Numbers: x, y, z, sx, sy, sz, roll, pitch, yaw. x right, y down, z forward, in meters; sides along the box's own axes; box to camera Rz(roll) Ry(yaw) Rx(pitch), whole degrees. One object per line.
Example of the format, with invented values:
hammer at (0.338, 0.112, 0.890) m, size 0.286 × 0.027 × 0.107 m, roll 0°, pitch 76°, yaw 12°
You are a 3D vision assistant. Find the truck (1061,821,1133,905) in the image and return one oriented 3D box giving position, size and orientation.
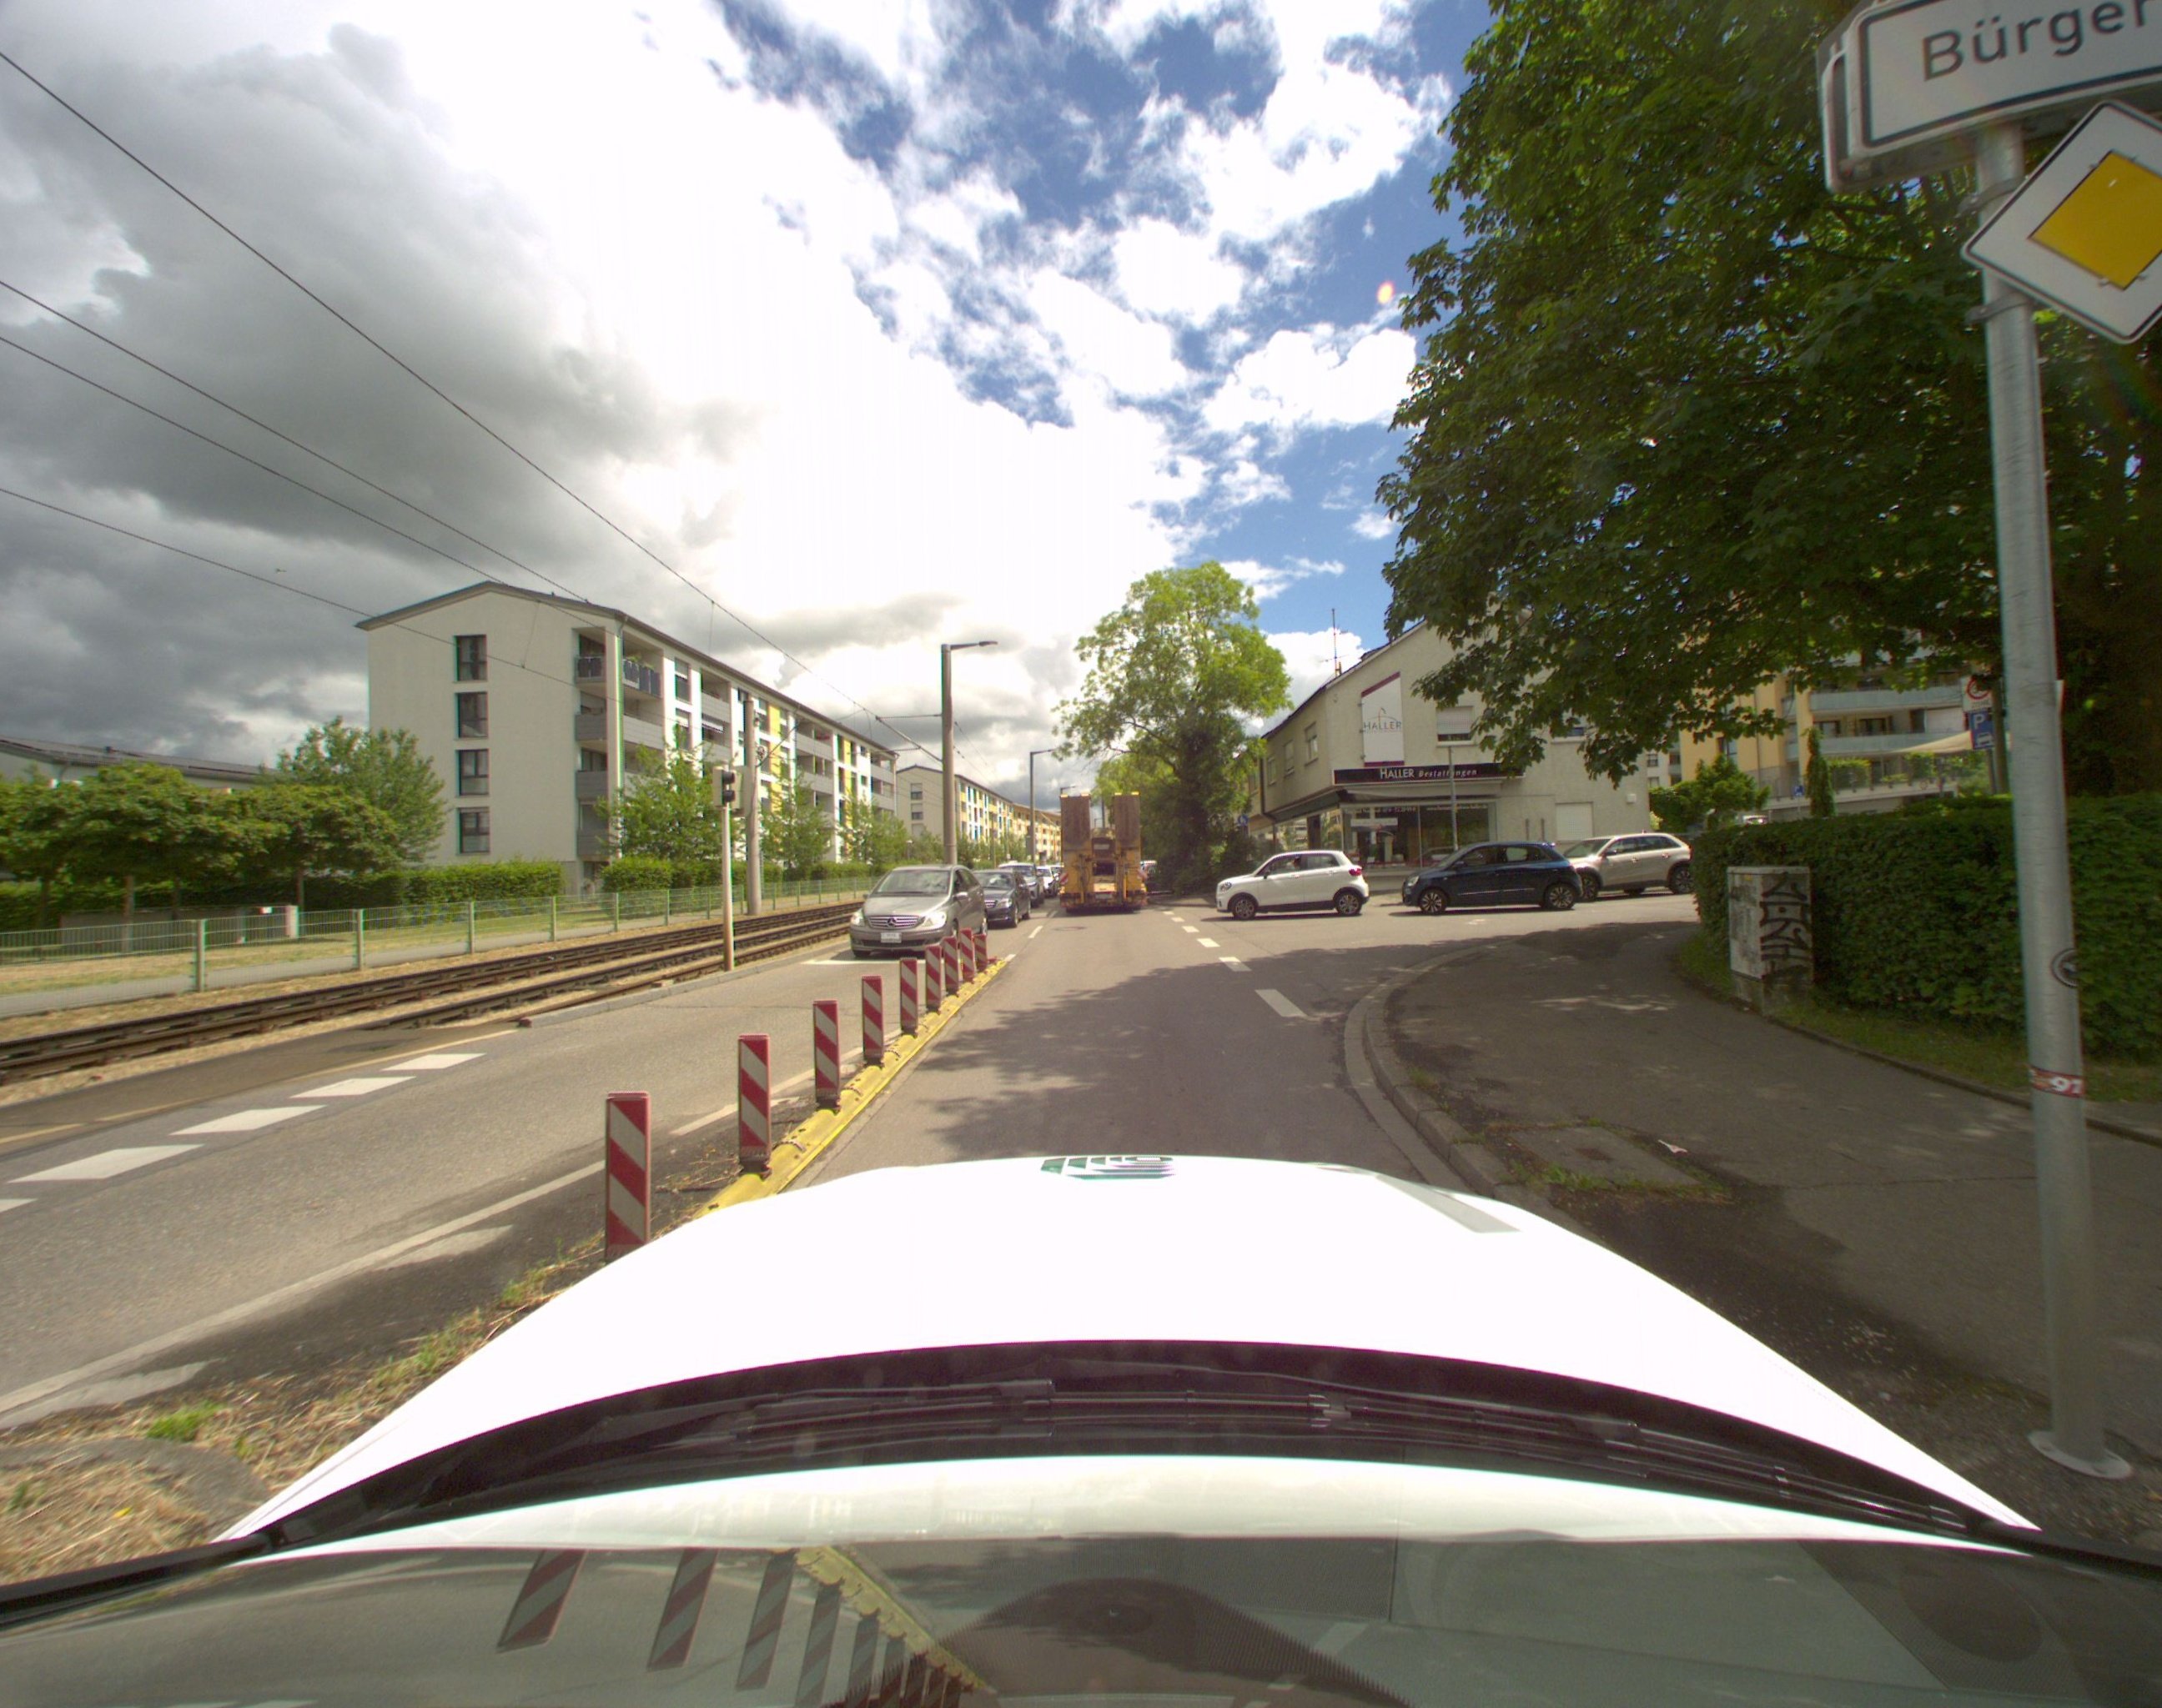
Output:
truck at (0.618, 0.360, 38.090) m, size 2.826 × 3.330 × 7.980 m, roll -3°, pitch 0°, yaw -1°

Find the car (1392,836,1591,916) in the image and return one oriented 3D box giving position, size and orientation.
car at (9.033, 0.470, 18.274) m, size 3.667 × 1.522 × 2.010 m, roll -3°, pitch 0°, yaw 18°

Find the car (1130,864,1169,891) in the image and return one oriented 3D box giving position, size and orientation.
car at (4.145, 1.376, 49.757) m, size 1.987 × 1.387 × 4.001 m, roll -3°, pitch 0°, yaw 1°

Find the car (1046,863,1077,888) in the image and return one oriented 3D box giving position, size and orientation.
car at (-1.382, 1.550, 59.293) m, size 1.987 × 1.585 × 4.001 m, roll -3°, pitch 0°, yaw 1°

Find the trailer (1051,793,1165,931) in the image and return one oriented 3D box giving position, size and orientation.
trailer at (0.672, 0.184, 29.115) m, size 3.042 × 3.772 × 11.606 m, roll -3°, pitch 0°, yaw -1°

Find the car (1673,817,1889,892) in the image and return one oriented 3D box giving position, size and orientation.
car at (17.058, 0.001, 19.964) m, size 3.871 × 1.547 × 1.708 m, roll -3°, pitch 0°, yaw -3°

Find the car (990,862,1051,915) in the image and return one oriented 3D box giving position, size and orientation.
car at (-2.146, 1.220, 29.958) m, size 1.595 × 1.732 × 3.942 m, roll -3°, pitch -1°, yaw 4°

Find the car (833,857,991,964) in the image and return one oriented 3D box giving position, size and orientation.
car at (-3.005, 0.966, 15.423) m, size 1.794 × 1.652 × 4.135 m, roll -3°, pitch -1°, yaw 4°

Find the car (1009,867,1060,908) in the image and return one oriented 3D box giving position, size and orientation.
car at (-2.124, 1.518, 38.123) m, size 1.987 × 1.593 × 3.891 m, roll -3°, pitch 0°, yaw 1°

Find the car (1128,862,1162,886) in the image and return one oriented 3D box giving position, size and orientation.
car at (4.359, 1.323, 55.847) m, size 1.987 × 1.387 × 4.001 m, roll -3°, pitch 0°, yaw 1°

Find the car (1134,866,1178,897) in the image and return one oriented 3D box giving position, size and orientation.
car at (4.004, 1.423, 43.933) m, size 1.987 × 1.387 × 4.001 m, roll -3°, pitch 0°, yaw 1°

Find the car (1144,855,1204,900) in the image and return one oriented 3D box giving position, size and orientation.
car at (3.796, 0.922, 33.859) m, size 1.987 × 1.618 × 4.001 m, roll -3°, pitch 0°, yaw 1°

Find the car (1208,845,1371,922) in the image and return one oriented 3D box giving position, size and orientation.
car at (5.016, 0.706, 19.817) m, size 3.573 × 1.584 × 2.007 m, roll -3°, pitch -1°, yaw 13°

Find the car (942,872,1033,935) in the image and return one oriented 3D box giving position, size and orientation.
car at (-2.318, 1.207, 21.186) m, size 1.595 × 1.381 × 3.960 m, roll -3°, pitch -1°, yaw 4°

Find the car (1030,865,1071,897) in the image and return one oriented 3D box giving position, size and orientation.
car at (-1.647, 1.490, 45.526) m, size 1.987 × 1.520 × 3.891 m, roll -3°, pitch 0°, yaw 1°

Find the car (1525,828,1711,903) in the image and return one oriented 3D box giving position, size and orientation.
car at (12.975, 0.262, 19.787) m, size 3.453 × 1.523 × 1.706 m, roll -4°, pitch 0°, yaw -6°

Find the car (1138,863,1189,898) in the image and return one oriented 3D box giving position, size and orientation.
car at (3.873, 1.210, 38.748) m, size 1.987 × 1.387 × 4.001 m, roll -3°, pitch 0°, yaw 1°
